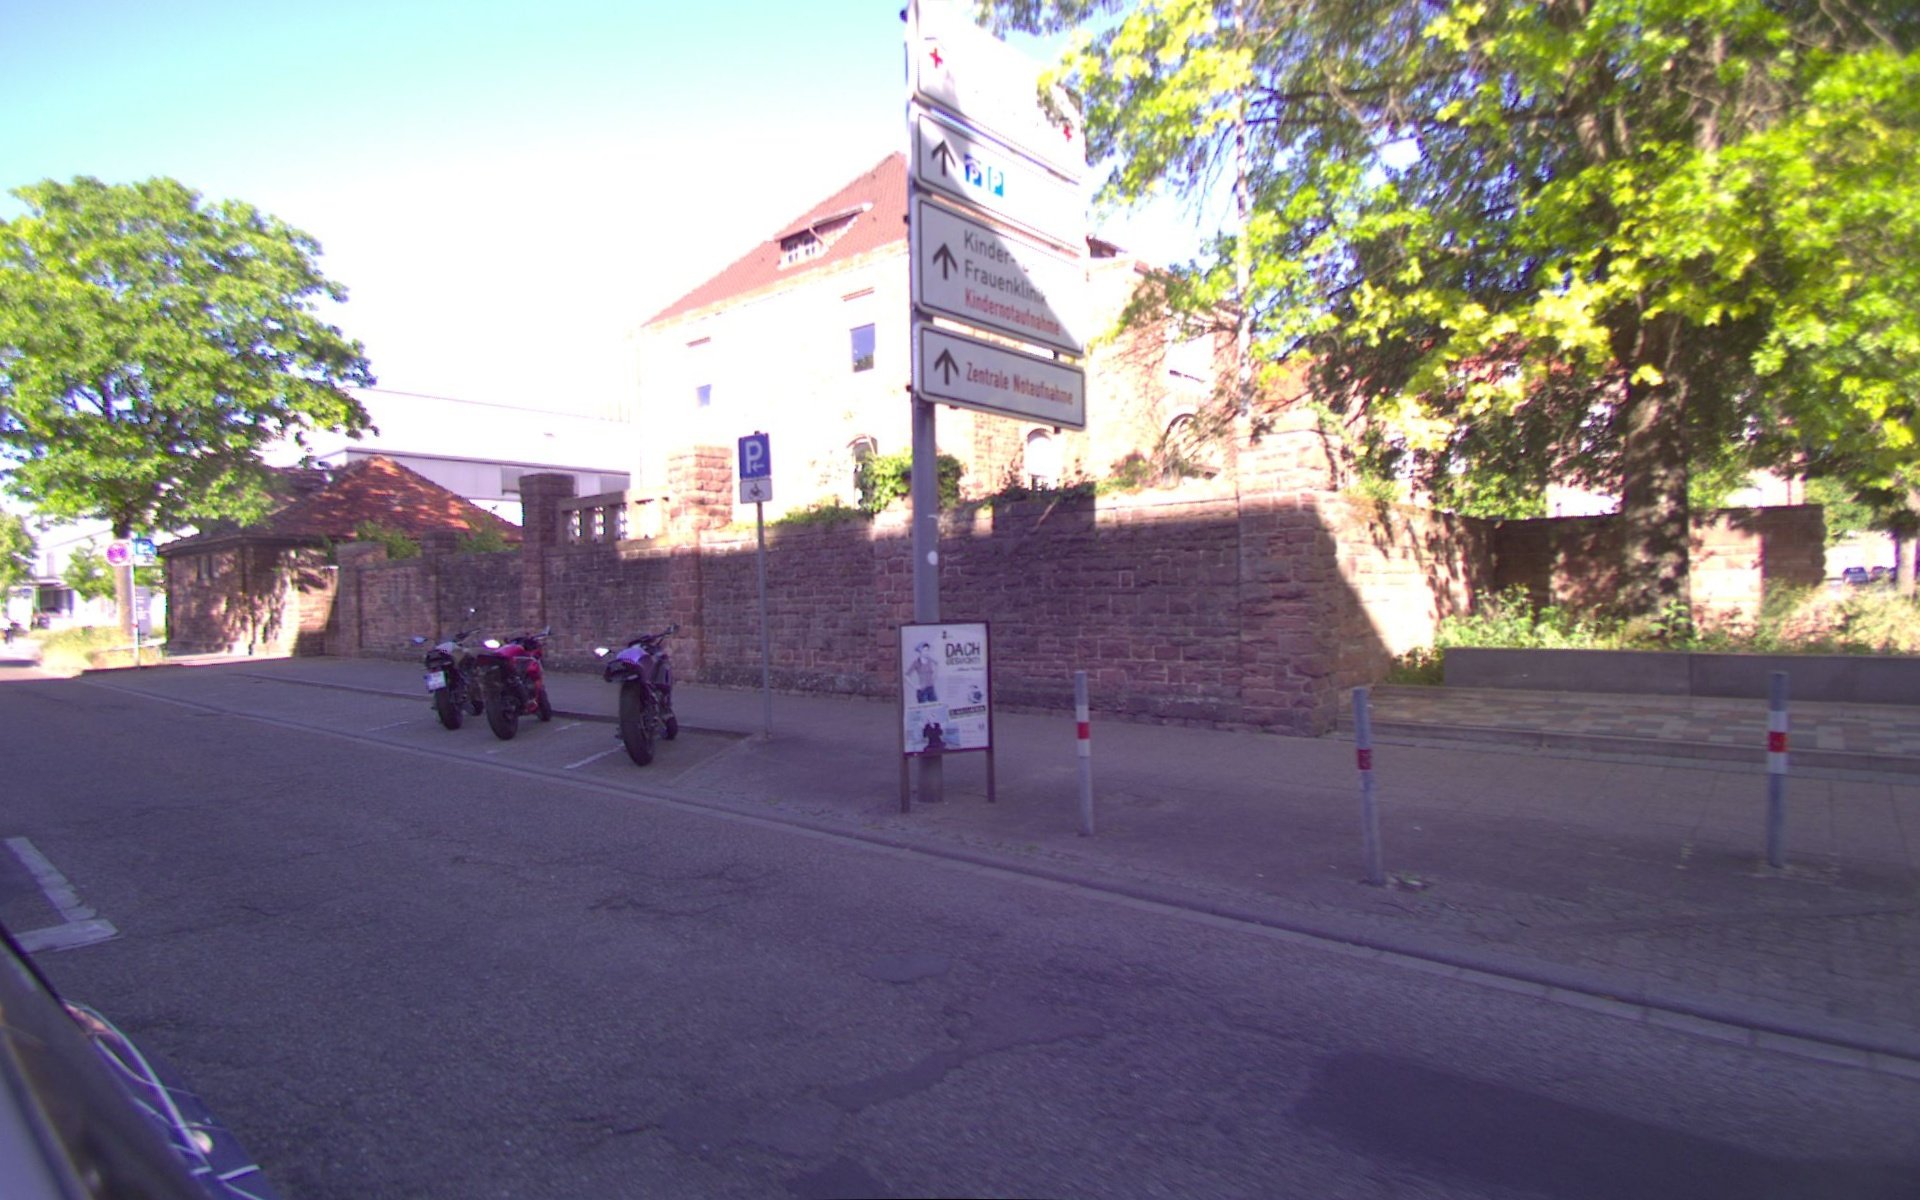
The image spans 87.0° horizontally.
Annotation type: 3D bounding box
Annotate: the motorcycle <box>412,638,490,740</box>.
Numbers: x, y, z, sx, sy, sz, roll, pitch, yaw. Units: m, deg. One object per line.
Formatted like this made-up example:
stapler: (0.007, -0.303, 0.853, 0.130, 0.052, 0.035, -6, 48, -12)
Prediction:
motorcycle: (-6.280, 1.049, 12.567, 0.523, 1.047, 2.097, -3, 1, -18)

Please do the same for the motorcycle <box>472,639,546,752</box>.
motorcycle: (-5.122, 1.034, 11.584, 0.523, 1.047, 2.097, -3, 1, -18)

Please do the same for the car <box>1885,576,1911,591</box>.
car: (91.415, -1.637, 98.620, 1.737, 1.333, 3.027, -1, 2, 44)

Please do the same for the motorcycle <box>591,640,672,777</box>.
motorcycle: (-3.026, 0.939, 9.469, 0.591, 1.040, 2.134, -2, 0, -15)

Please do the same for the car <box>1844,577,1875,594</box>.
car: (73.825, -1.183, 83.038, 1.737, 1.334, 3.027, -2, 1, 44)
